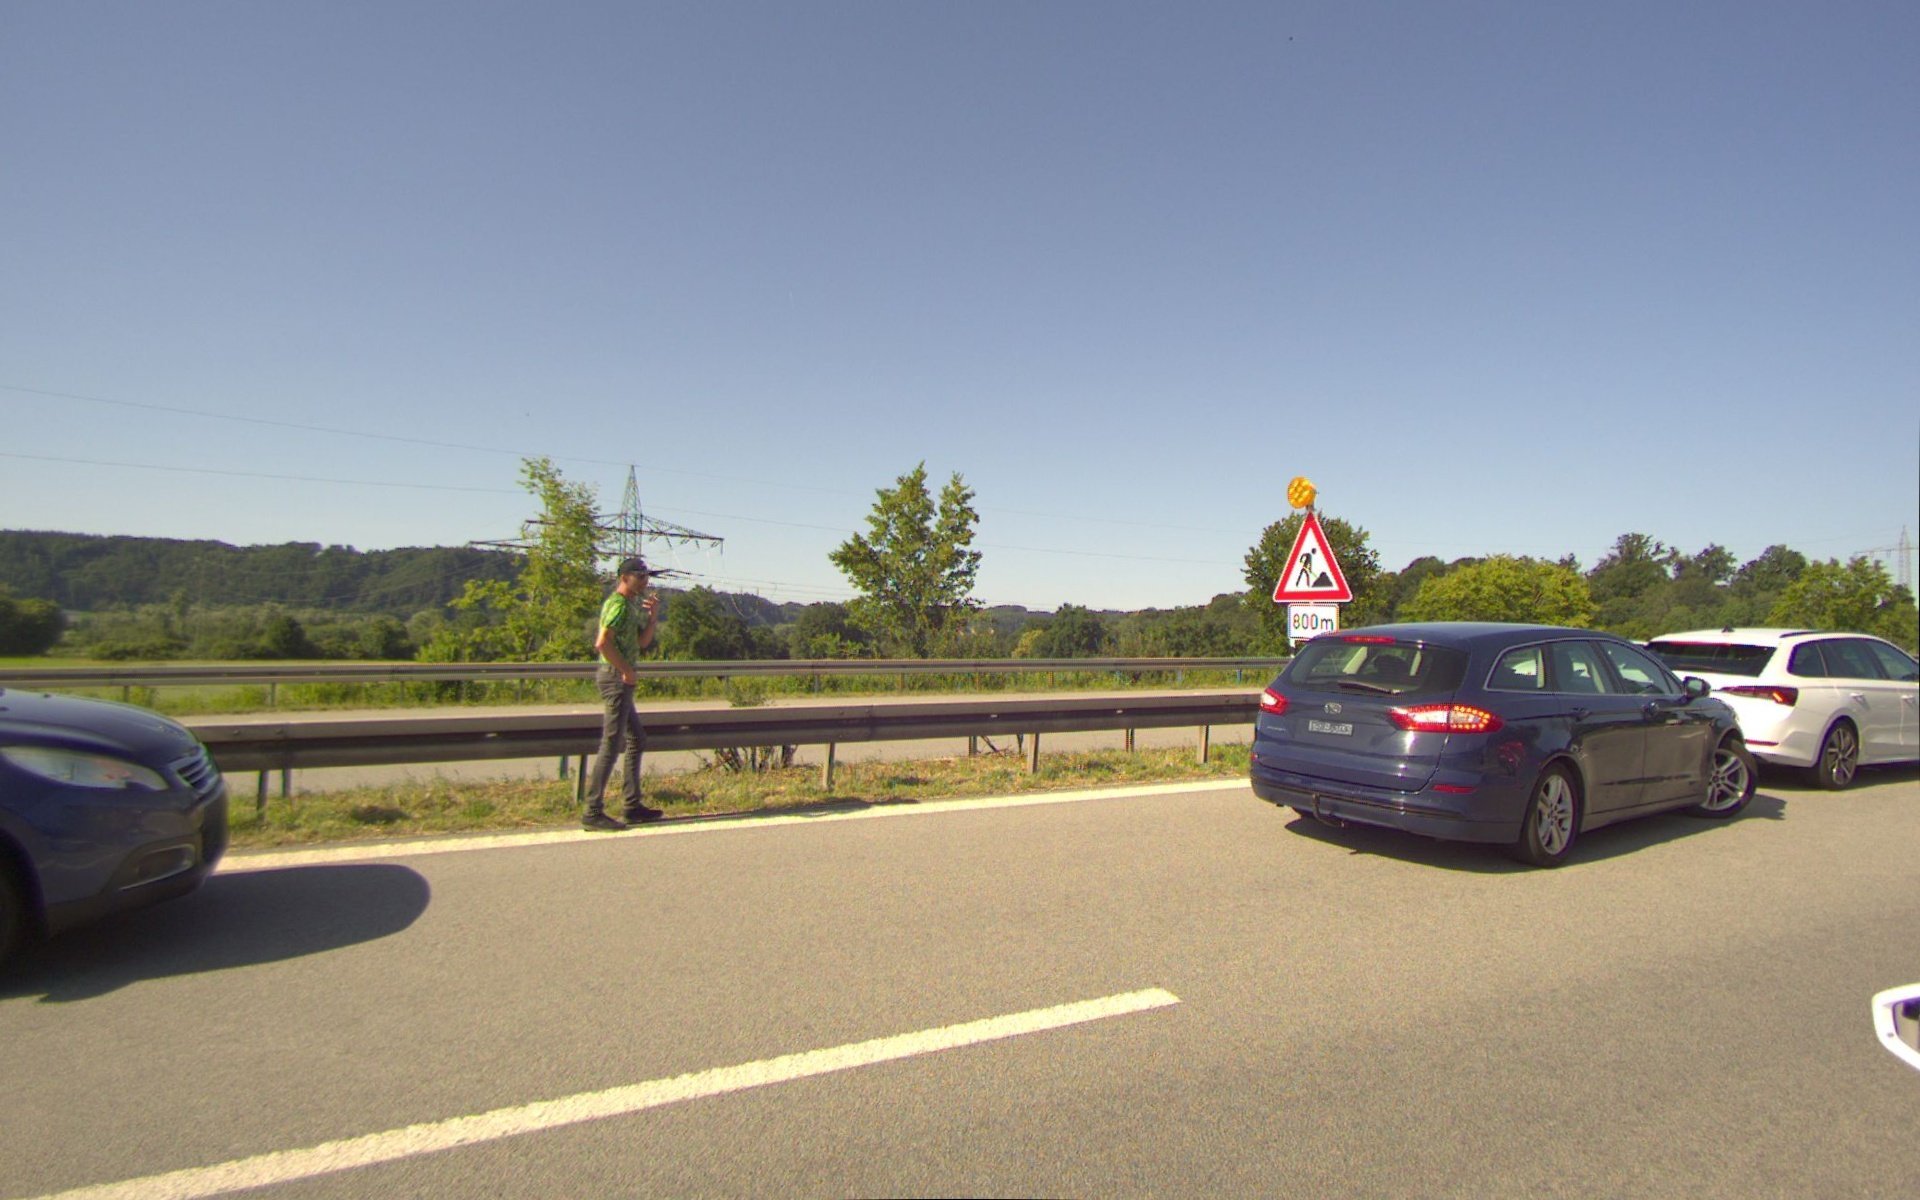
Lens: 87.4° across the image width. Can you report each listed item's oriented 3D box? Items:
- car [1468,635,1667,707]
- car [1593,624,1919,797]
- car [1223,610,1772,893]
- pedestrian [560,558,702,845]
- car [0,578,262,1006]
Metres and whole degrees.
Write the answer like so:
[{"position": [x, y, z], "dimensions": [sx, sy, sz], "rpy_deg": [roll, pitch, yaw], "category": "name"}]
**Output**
[{"position": [13.623, 1.552, 22.493], "dimensions": [4.244, 1.445, 1.690], "rpy_deg": [1, 0, -24], "category": "car"}, {"position": [8.681, 1.019, 10.403], "dimensions": [4.155, 1.461, 1.689], "rpy_deg": [1, 0, -27], "category": "car"}, {"position": [4.107, 0.877, 7.396], "dimensions": [4.448, 1.513, 1.776], "rpy_deg": [2, -2, -35], "category": "car"}, {"position": [-2.200, 0.644, 6.695], "dimensions": [0.803, 1.773, 0.668], "rpy_deg": [1, -2, -26], "category": "pedestrian"}, {"position": [-5.053, 0.662, 3.696], "dimensions": [3.902, 1.555, 1.680], "rpy_deg": [1, 0, -30], "category": "car"}]
